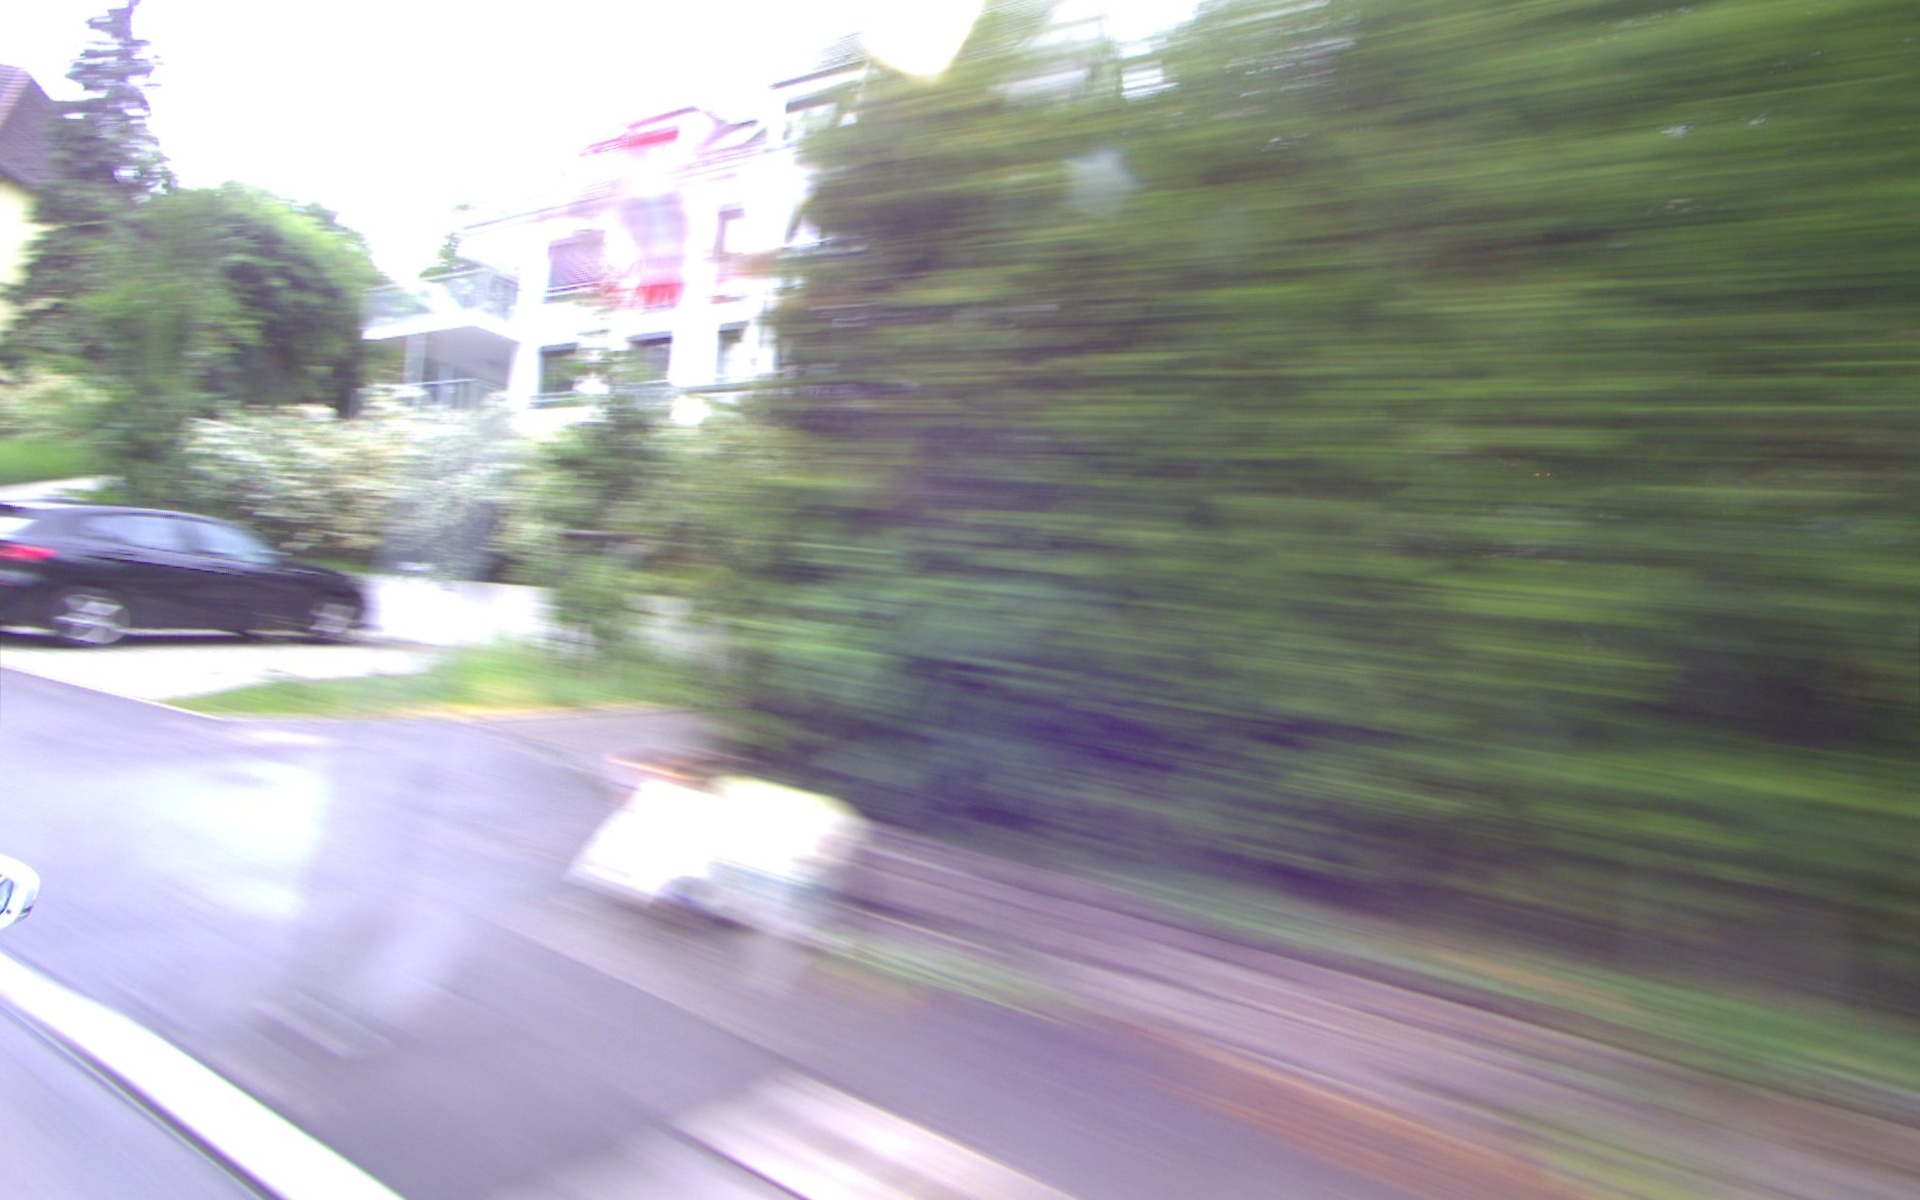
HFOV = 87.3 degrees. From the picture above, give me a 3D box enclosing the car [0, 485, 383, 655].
[{"bbox_3d":[-8.902,-0.302,11.121,1.708,1.527,4.180,7,1,20],"label":"car"}]
